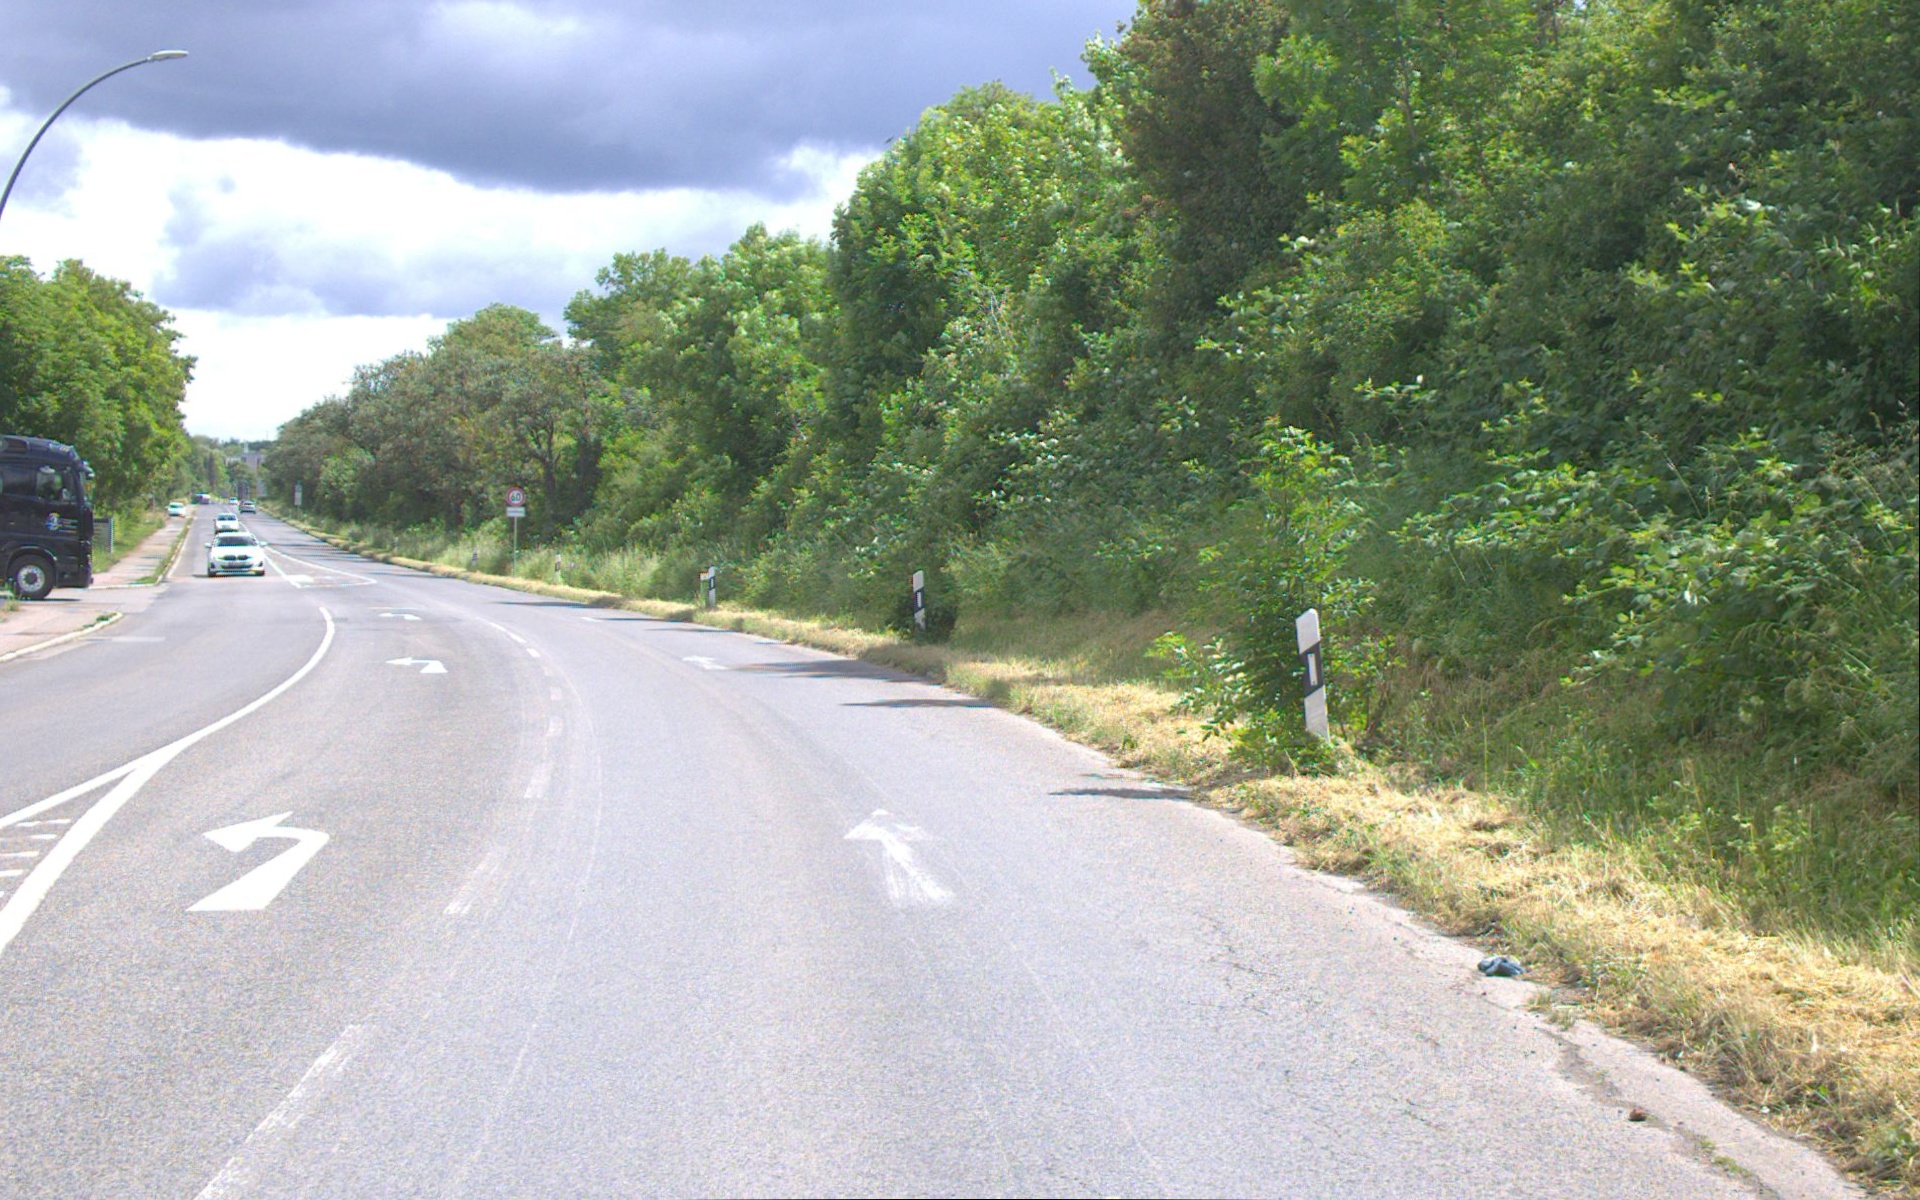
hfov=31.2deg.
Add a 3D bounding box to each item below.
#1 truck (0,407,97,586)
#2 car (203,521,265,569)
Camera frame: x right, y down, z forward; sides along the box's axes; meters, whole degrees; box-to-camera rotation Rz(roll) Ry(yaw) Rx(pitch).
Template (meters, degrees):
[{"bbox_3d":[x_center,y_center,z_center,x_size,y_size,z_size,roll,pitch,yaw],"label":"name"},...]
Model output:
[{"bbox_3d":[-23.306,-2.353,79.325,6.117,4.079,2.826,-2,2,-23],"label":"truck"},{"bbox_3d":[-24.284,-1.843,115.015,1.993,1.532,4.001,1,1,-12],"label":"car"}]
